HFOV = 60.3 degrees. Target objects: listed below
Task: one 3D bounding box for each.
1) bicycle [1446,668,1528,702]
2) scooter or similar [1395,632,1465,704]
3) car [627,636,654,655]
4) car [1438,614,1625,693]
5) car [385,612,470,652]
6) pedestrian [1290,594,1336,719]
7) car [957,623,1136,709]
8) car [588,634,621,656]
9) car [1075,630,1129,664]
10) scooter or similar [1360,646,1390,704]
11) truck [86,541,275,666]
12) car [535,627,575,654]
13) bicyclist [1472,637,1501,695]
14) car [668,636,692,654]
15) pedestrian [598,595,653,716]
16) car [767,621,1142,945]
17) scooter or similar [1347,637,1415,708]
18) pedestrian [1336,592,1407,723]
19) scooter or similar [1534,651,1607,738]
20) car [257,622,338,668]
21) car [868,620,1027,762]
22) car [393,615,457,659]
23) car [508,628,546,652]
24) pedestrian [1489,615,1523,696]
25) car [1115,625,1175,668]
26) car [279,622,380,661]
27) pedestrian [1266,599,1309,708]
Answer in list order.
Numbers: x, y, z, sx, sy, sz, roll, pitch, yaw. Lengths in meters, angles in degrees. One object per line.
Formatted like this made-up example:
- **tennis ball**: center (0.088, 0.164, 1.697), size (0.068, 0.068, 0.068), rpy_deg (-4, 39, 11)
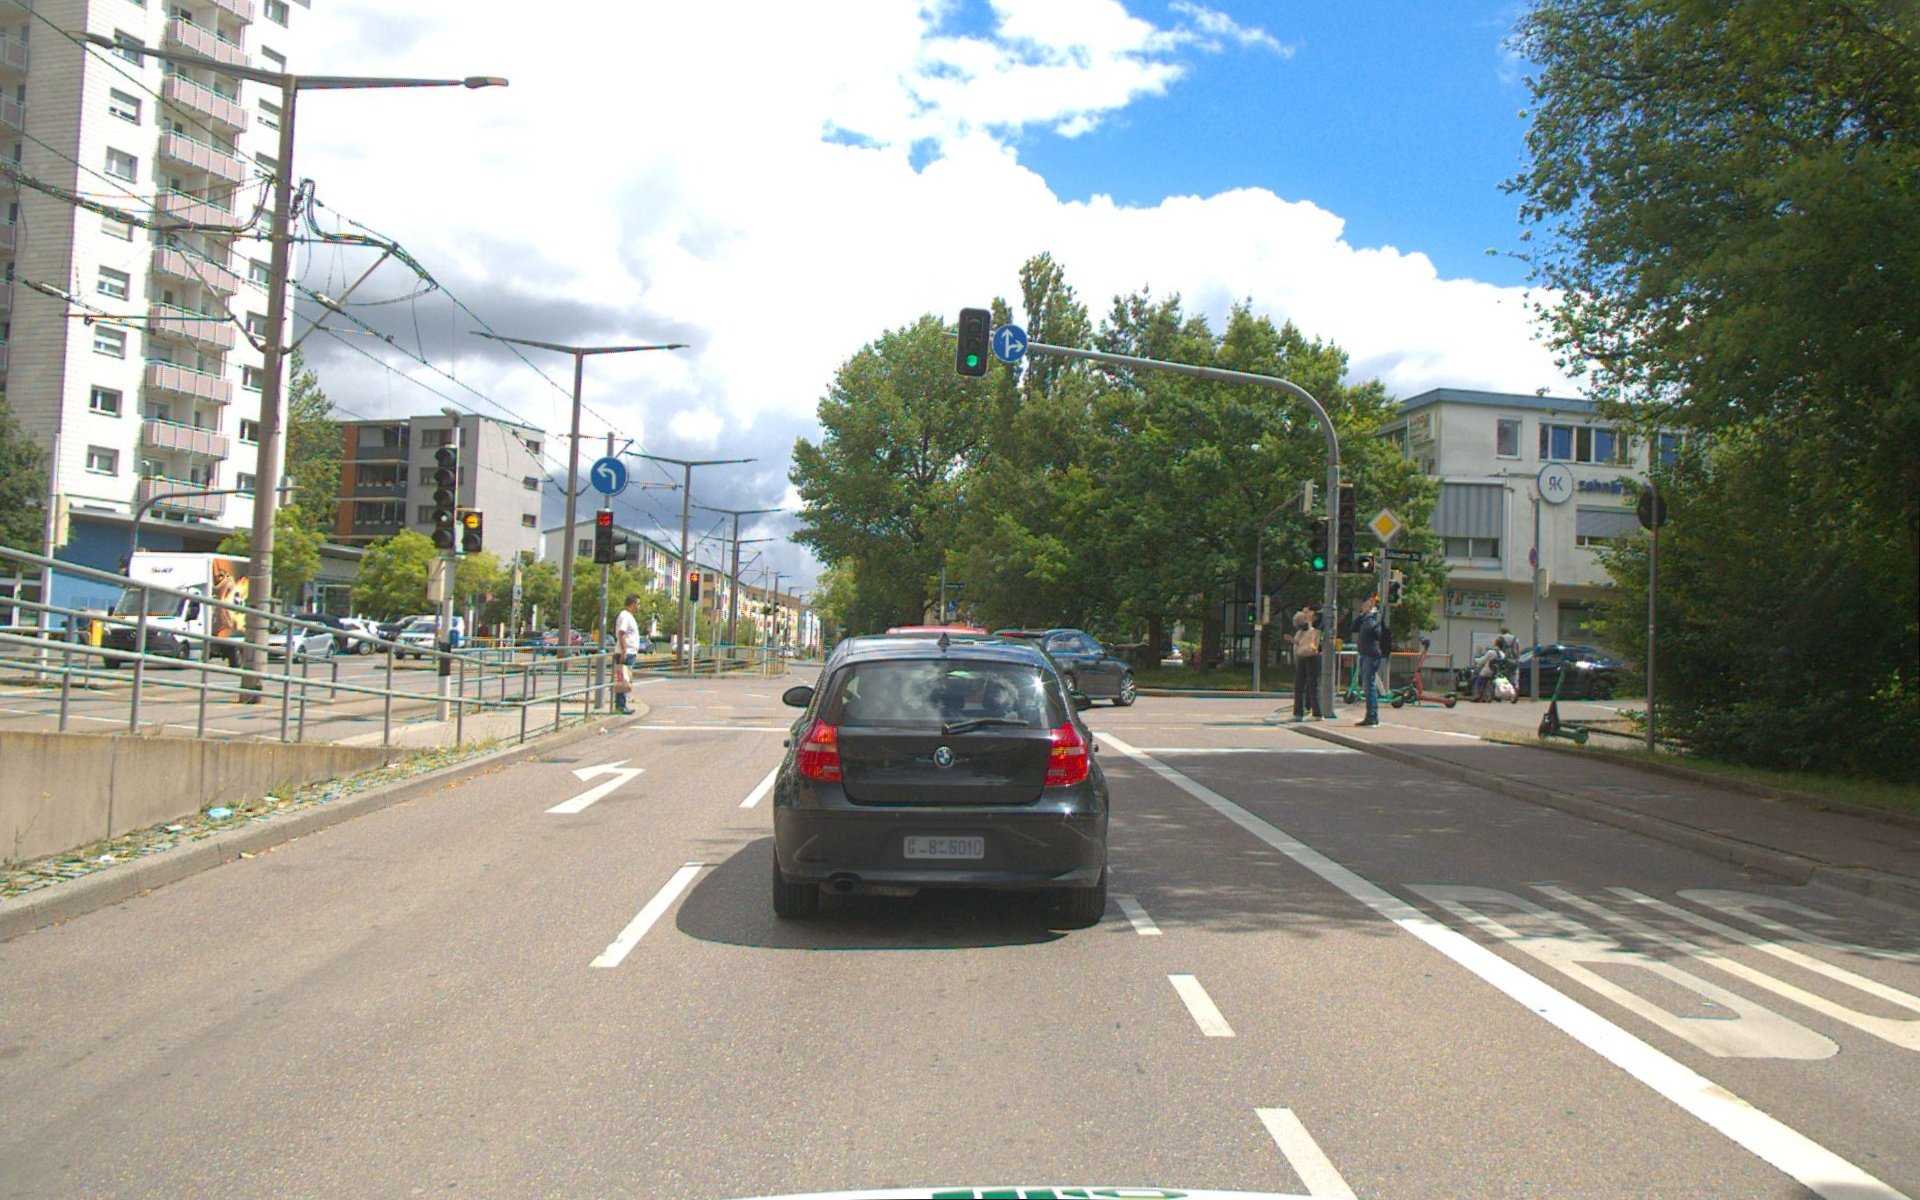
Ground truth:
- **bicycle**: center (10.963, 1.760, 34.437), size (0.530, 0.620, 1.565), rpy_deg (2, -1, -44)
- **scooter or similar**: center (8.840, 1.281, 31.155), size (1.127, 1.294, 0.555), rpy_deg (2, -1, 1)
- **car**: center (-26.679, 3.783, 138.310), size (1.618, 1.561, 3.869), rpy_deg (1, -1, -2)
- **car**: center (15.762, 1.465, 45.719), size (4.450, 2.049, 1.996), rpy_deg (2, -1, -8)
- **car**: center (-27.628, 1.649, 85.886), size (3.892, 2.009, 1.630), rpy_deg (2, -1, -43)
- **pedestrian**: center (5.493, 0.868, 25.741), size (0.622, 1.909, 0.518), rpy_deg (1, -1, 5)
- **car**: center (1.712, 1.185, 30.939), size (1.862, 1.447, 4.536), rpy_deg (1, -1, 24)
- **car**: center (-25.575, 3.234, 119.029), size (1.618, 1.561, 3.869), rpy_deg (1, -1, -2)
- **car**: center (7.512, 2.494, 87.816), size (1.830, 1.691, 3.988), rpy_deg (2, -1, -11)
- **scooter or similar**: center (8.037, 1.445, 32.058), size (0.536, 1.083, 1.263), rpy_deg (1, -1, 13)
- **truck**: center (-21.640, 0.140, 46.392), size (2.236, 3.173, 7.311), rpy_deg (2, -1, -5)
- **car**: center (-24.877, 2.475, 101.625), size (1.618, 1.561, 3.869), rpy_deg (1, -1, -2)
- **bicyclist**: center (10.966, 1.368, 34.439), size (0.499, 1.177, 0.393), rpy_deg (2, -1, -44)
- **car**: center (-25.726, 4.157, 152.015), size (1.618, 1.561, 3.869), rpy_deg (1, -1, -2)
- **pedestrian**: center (-4.980, 0.822, 24.655), size (0.673, 1.764, 0.687), rpy_deg (1, -1, -1)
- **car**: center (-0.040, 0.846, 9.160), size (1.665, 1.424, 3.419), rpy_deg (1, -1, -1)
- **scooter or similar**: center (7.637, 1.307, 30.033), size (1.087, 1.257, 0.539), rpy_deg (1, -1, 1)
- **pedestrian**: center (6.163, 0.854, 24.809), size (0.779, 1.909, 1.013), rpy_deg (1, -2, -1)
- **scooter or similar**: center (9.490, 1.468, 25.735), size (0.872, 1.251, 0.454), rpy_deg (6, -1, -1)
- **car**: center (-22.662, 1.522, 56.709), size (1.379, 1.486, 3.772), rpy_deg (2, -1, -3)
- **car**: center (-0.151, 0.957, 18.657), size (1.605, 1.424, 3.419), rpy_deg (1, -1, -1)
- **car**: center (-23.178, 1.597, 71.759), size (1.559, 1.787, 3.773), rpy_deg (2, -1, -2)
- **car**: center (-28.408, 2.641, 108.617), size (1.559, 1.500, 3.773), rpy_deg (2, -1, -2)
- **pedestrian**: center (11.883, 1.209, 36.009), size (0.644, 1.743, 0.461), rpy_deg (0, -1, 26)
- **car**: center (8.580, 2.157, 76.992), size (1.694, 1.904, 3.991), rpy_deg (2, -1, -9)
- **car**: center (-28.390, 1.877, 74.531), size (1.628, 1.676, 3.898), rpy_deg (0, -1, 43)
- **pedestrian**: center (5.450, 0.886, 27.559), size (0.622, 1.797, 0.518), rpy_deg (1, -1, 5)
